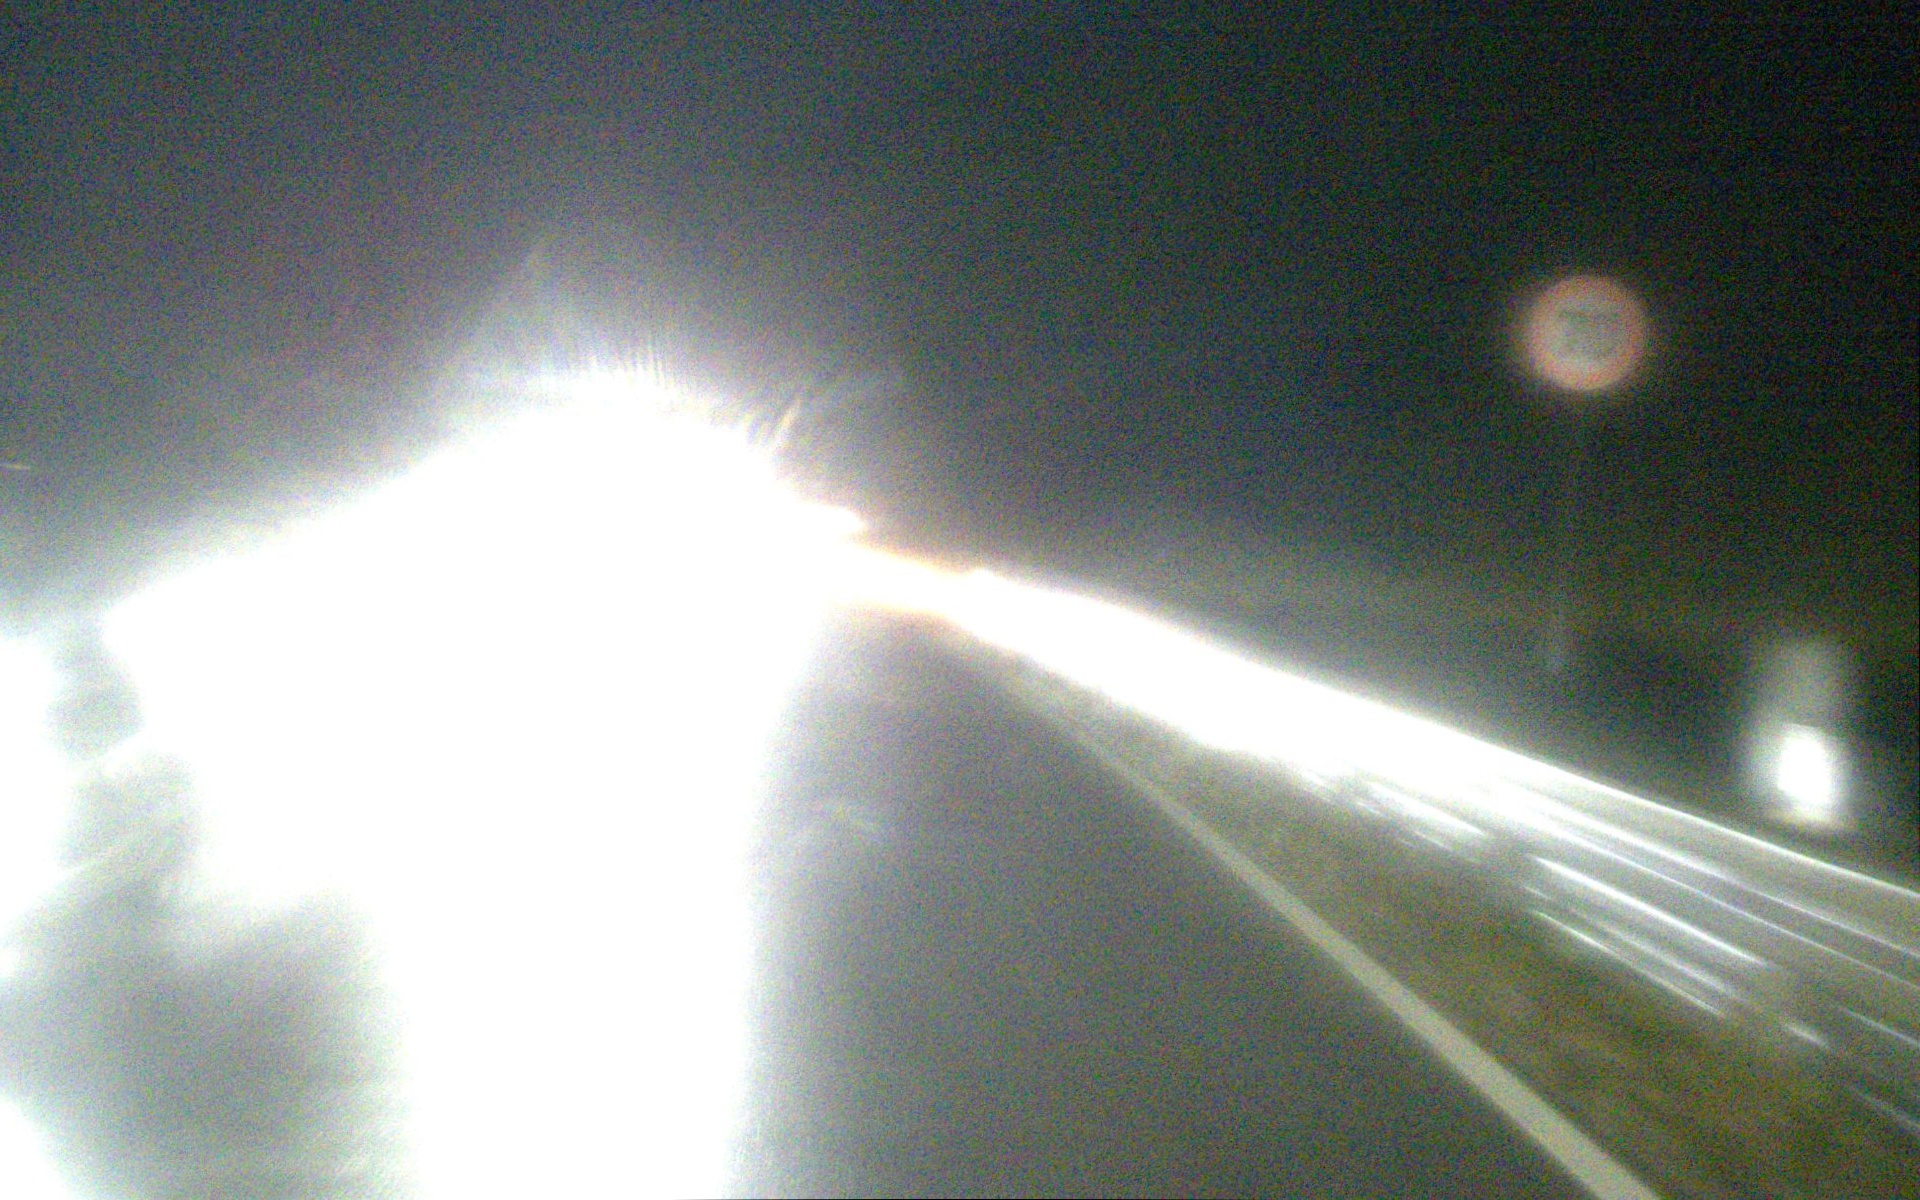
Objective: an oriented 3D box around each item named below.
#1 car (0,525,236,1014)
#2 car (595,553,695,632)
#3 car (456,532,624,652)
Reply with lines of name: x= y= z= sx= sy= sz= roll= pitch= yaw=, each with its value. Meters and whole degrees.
car: x=-3.820 y=0.488 z=12.349 sx=1.702 sy=1.501 sz=3.684 roll=0 pitch=1 yaw=-1
car: x=-6.163 y=-0.162 z=67.629 sx=1.832 sy=1.478 sz=4.070 roll=0 pitch=1 yaw=-3
car: x=-5.415 y=-0.146 z=44.713 sx=1.832 sy=1.478 sz=4.353 roll=0 pitch=1 yaw=-2
